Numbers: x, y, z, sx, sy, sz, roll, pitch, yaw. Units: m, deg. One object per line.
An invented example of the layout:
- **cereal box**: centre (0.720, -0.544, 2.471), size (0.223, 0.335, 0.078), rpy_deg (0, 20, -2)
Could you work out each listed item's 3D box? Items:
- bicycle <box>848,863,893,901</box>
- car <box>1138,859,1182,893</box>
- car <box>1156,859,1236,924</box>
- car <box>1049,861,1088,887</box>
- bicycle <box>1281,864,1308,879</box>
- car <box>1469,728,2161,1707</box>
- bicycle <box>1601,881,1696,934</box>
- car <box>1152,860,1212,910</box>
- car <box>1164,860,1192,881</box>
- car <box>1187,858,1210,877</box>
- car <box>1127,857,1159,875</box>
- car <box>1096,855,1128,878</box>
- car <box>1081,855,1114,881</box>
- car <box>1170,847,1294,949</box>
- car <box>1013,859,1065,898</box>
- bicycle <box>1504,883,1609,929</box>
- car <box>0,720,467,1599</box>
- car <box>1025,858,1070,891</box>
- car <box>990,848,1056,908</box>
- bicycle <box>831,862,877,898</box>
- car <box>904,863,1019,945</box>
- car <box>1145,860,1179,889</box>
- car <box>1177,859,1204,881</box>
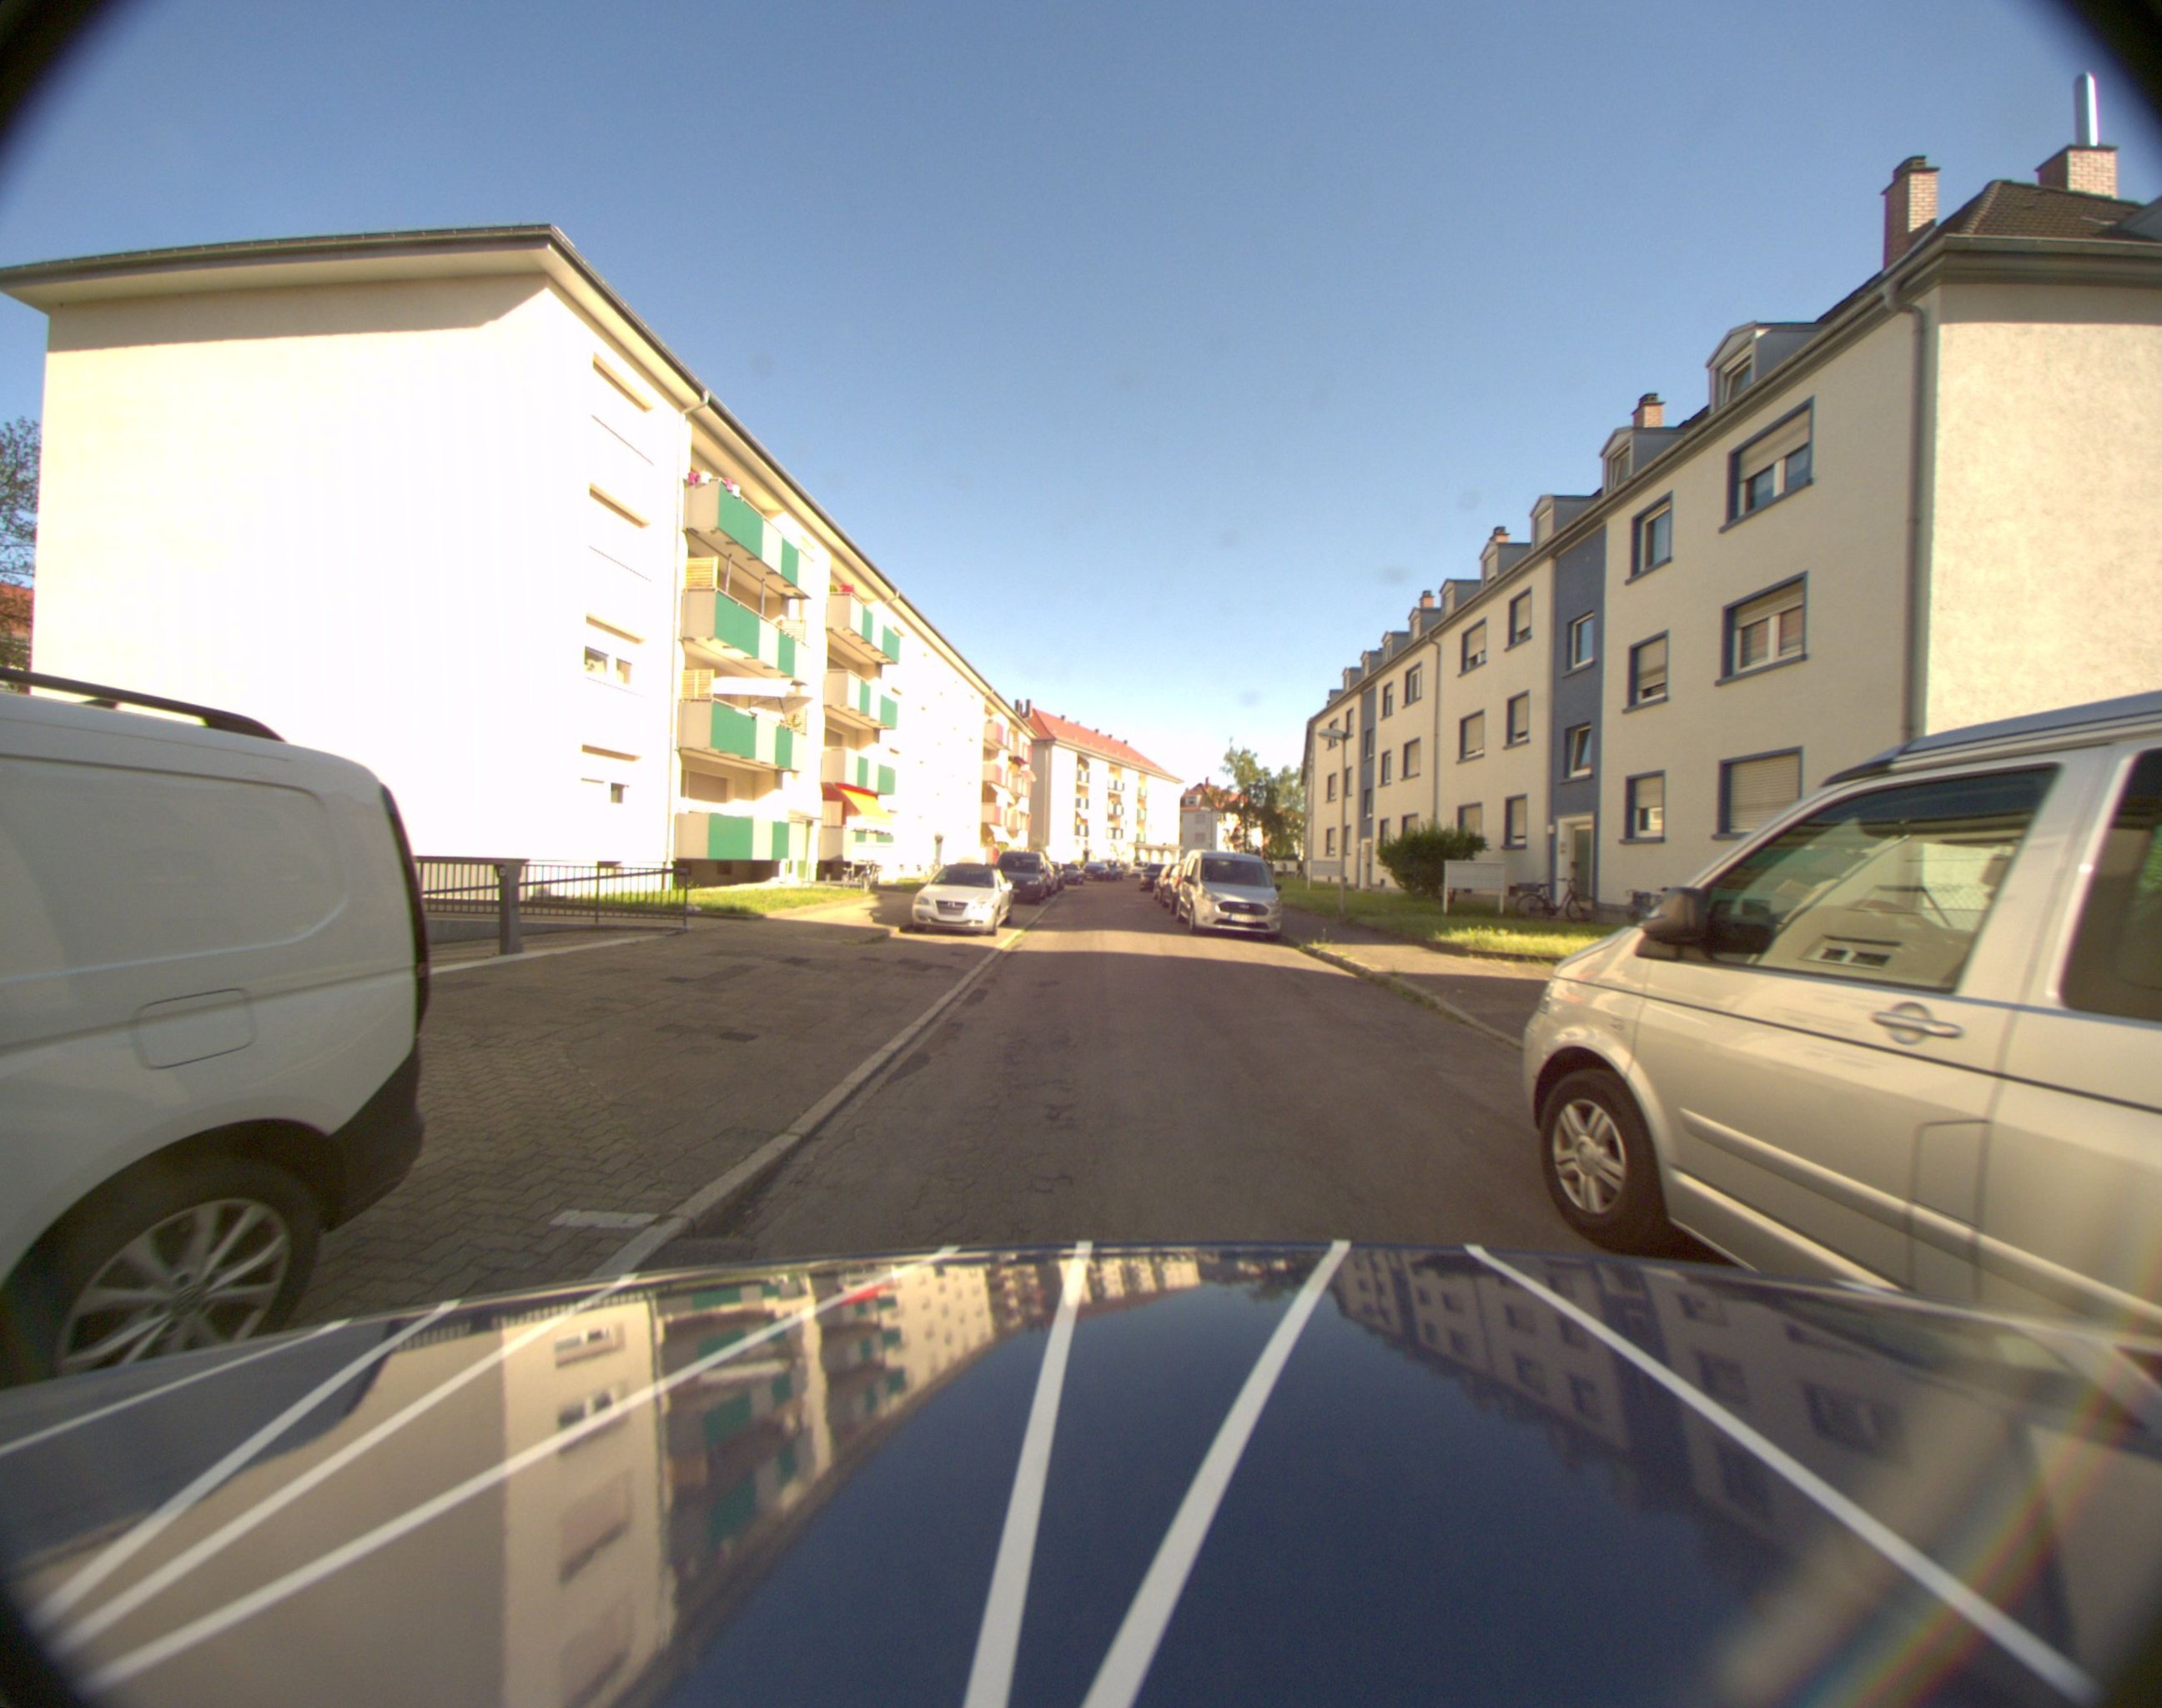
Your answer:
- **bicycle**: centre (-6.436, 0.830, 23.332), size (0.506, 1.086, 2.076), rpy_deg (0, 0, 10)
- **car**: centre (3.860, 1.044, 37.835), size (1.904, 1.450, 4.397), rpy_deg (4, 0, 3)
- **car**: centre (3.310, 1.030, 22.615), size (1.677, 1.582, 4.165), rpy_deg (5, 0, 1)
- **car**: centre (-0.711, 1.163, 45.991), size (1.676, 1.411, 3.863), rpy_deg (3, 0, 8)
- **bicycle**: centre (14.659, 1.217, 52.141), size (1.733, 0.984, 0.463), rpy_deg (-2, 0, 16)
- **car**: centre (2.914, 0.782, 1.325), size (1.955, 1.922, 4.856), rpy_deg (3, 0, 1)
- **bicycle**: centre (11.827, 1.091, 15.927), size (0.500, 0.956, 2.075), rpy_deg (-2, 0, 2)
- **car**: centre (3.499, 1.049, 26.926), size (1.648, 1.510, 3.703), rpy_deg (5, 0, 2)
- **car**: centre (7.694, 1.297, 60.026), size (1.639, 1.539, 3.653), rpy_deg (4, 0, 15)
- **car**: centre (11.111, 1.239, 71.811), size (1.639, 1.631, 3.653), rpy_deg (4, 0, 15)
- **car**: centre (6.080, 1.205, 74.020), size (1.754, 1.625, 4.413), rpy_deg (3, 0, 22)
- **car**: centre (2.552, 1.019, 61.788), size (1.755, 1.724, 4.005), rpy_deg (-3, -1, 14)
- **car**: centre (1.279, 1.029, 56.322), size (1.580, 1.752, 4.243), rpy_deg (3, 0, 13)
- **car**: centre (3.139, 0.839, 16.849), size (1.804, 1.819, 4.949), rpy_deg (4, 0, 2)
- **car**: centre (-1.693, 0.978, 32.076), size (1.643, 1.450, 3.861), rpy_deg (3, 0, 4)
- **bicycle**: centre (11.004, 1.200, 17.629), size (2.072, 0.956, 0.501), rpy_deg (-2, 0, 2)
- **car**: centre (-3.168, 0.579, 0.366), size (1.802, 1.835, 4.540), rpy_deg (4, 0, 3)
- **car**: centre (-1.590, 0.985, 37.271), size (1.667, 1.440, 3.861), rpy_deg (3, 0, 4)
- **car**: centre (-1.956, 0.786, 27.147), size (1.763, 1.829, 4.920), rpy_deg (3, 0, 1)
- **bicycle**: centre (-6.978, 0.779, 23.464), size (0.506, 1.038, 2.076), rpy_deg (0, 0, 10)
- **car**: centre (-2.424, 0.969, 16.443), size (1.746, 1.398, 4.314), rpy_deg (3, 0, 0)
- **car**: centre (4.734, 1.156, 44.343), size (1.745, 1.507, 3.985), rpy_deg (4, 0, 7)
- **car**: centre (9.407, 1.359, 65.283), size (1.639, 1.692, 3.653), rpy_deg (4, 0, 16)
